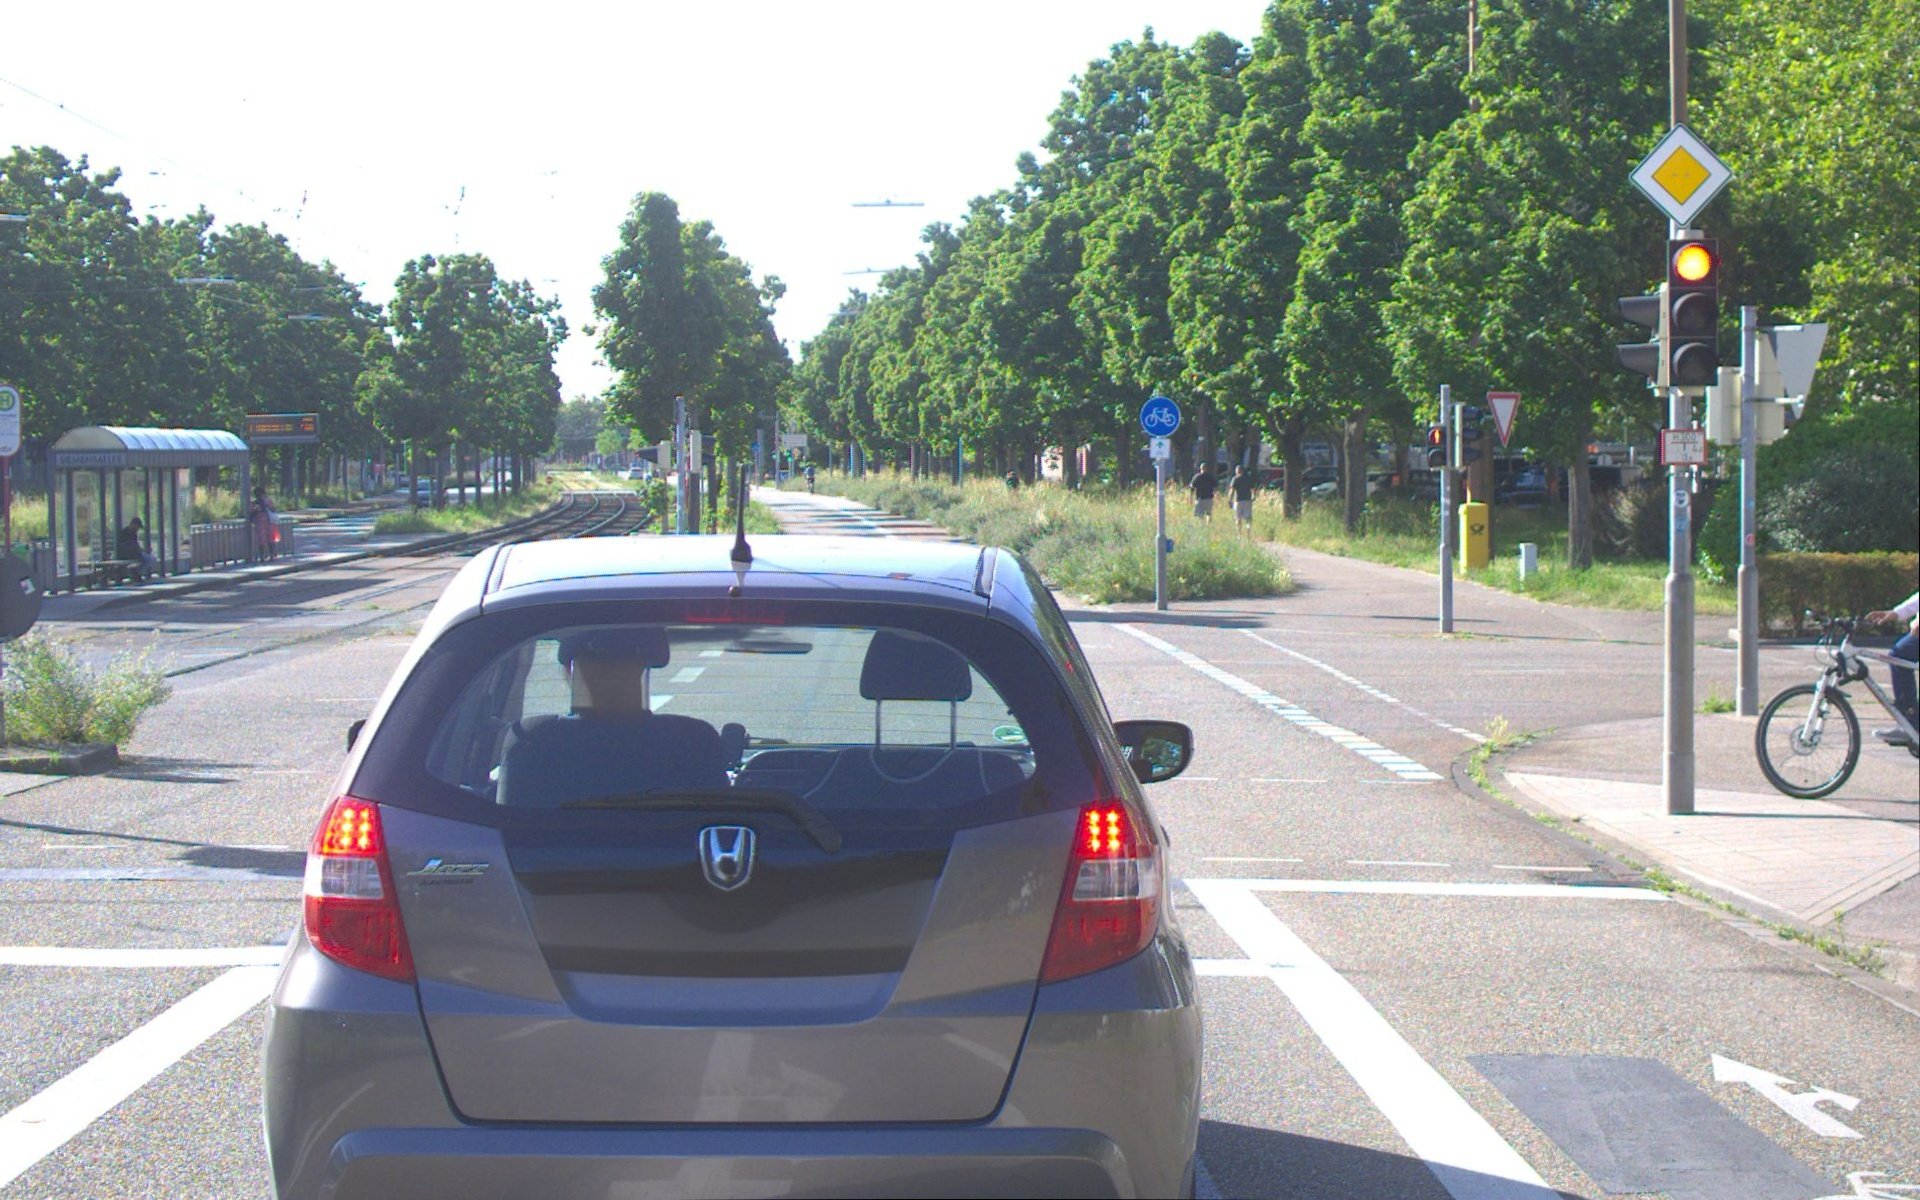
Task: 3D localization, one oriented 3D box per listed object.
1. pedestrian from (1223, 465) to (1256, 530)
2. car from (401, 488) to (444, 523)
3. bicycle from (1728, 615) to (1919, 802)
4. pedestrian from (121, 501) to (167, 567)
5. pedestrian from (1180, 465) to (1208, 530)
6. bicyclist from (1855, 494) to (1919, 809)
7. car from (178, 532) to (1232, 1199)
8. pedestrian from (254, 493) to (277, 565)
[{"bbox_3d":[6.941,-2.545,85.403,0.678,1.604,0.721,1,1,-3],"label":"pedestrian"},{"bbox_3d":[-27.554,-4.841,176.402,1.766,1.732,4.001,0,1,-3],"label":"car"},{"bbox_3d":[5.355,0.591,19.426,1.921,0.994,0.764,-2,1,10],"label":"bicycle"},{"bbox_3d":[-15.571,-1.265,65.623,0.721,1.241,0.711,-1,1,-2],"label":"pedestrian"},{"bbox_3d":[5.806,-2.547,85.352,0.567,1.591,0.666,1,1,-4],"label":"pedestrian"},{"bbox_3d":[5.562,0.274,19.374,0.910,1.739,0.764,-1,1,10],"label":"bicyclist"},{"bbox_3d":[-0.419,0.612,7.604,1.707,1.503,4.000,1,1,0],"label":"car"},{"bbox_3d":[-16.197,-1.652,80.182,0.502,1.670,0.388,0,1,-12],"label":"pedestrian"}]
